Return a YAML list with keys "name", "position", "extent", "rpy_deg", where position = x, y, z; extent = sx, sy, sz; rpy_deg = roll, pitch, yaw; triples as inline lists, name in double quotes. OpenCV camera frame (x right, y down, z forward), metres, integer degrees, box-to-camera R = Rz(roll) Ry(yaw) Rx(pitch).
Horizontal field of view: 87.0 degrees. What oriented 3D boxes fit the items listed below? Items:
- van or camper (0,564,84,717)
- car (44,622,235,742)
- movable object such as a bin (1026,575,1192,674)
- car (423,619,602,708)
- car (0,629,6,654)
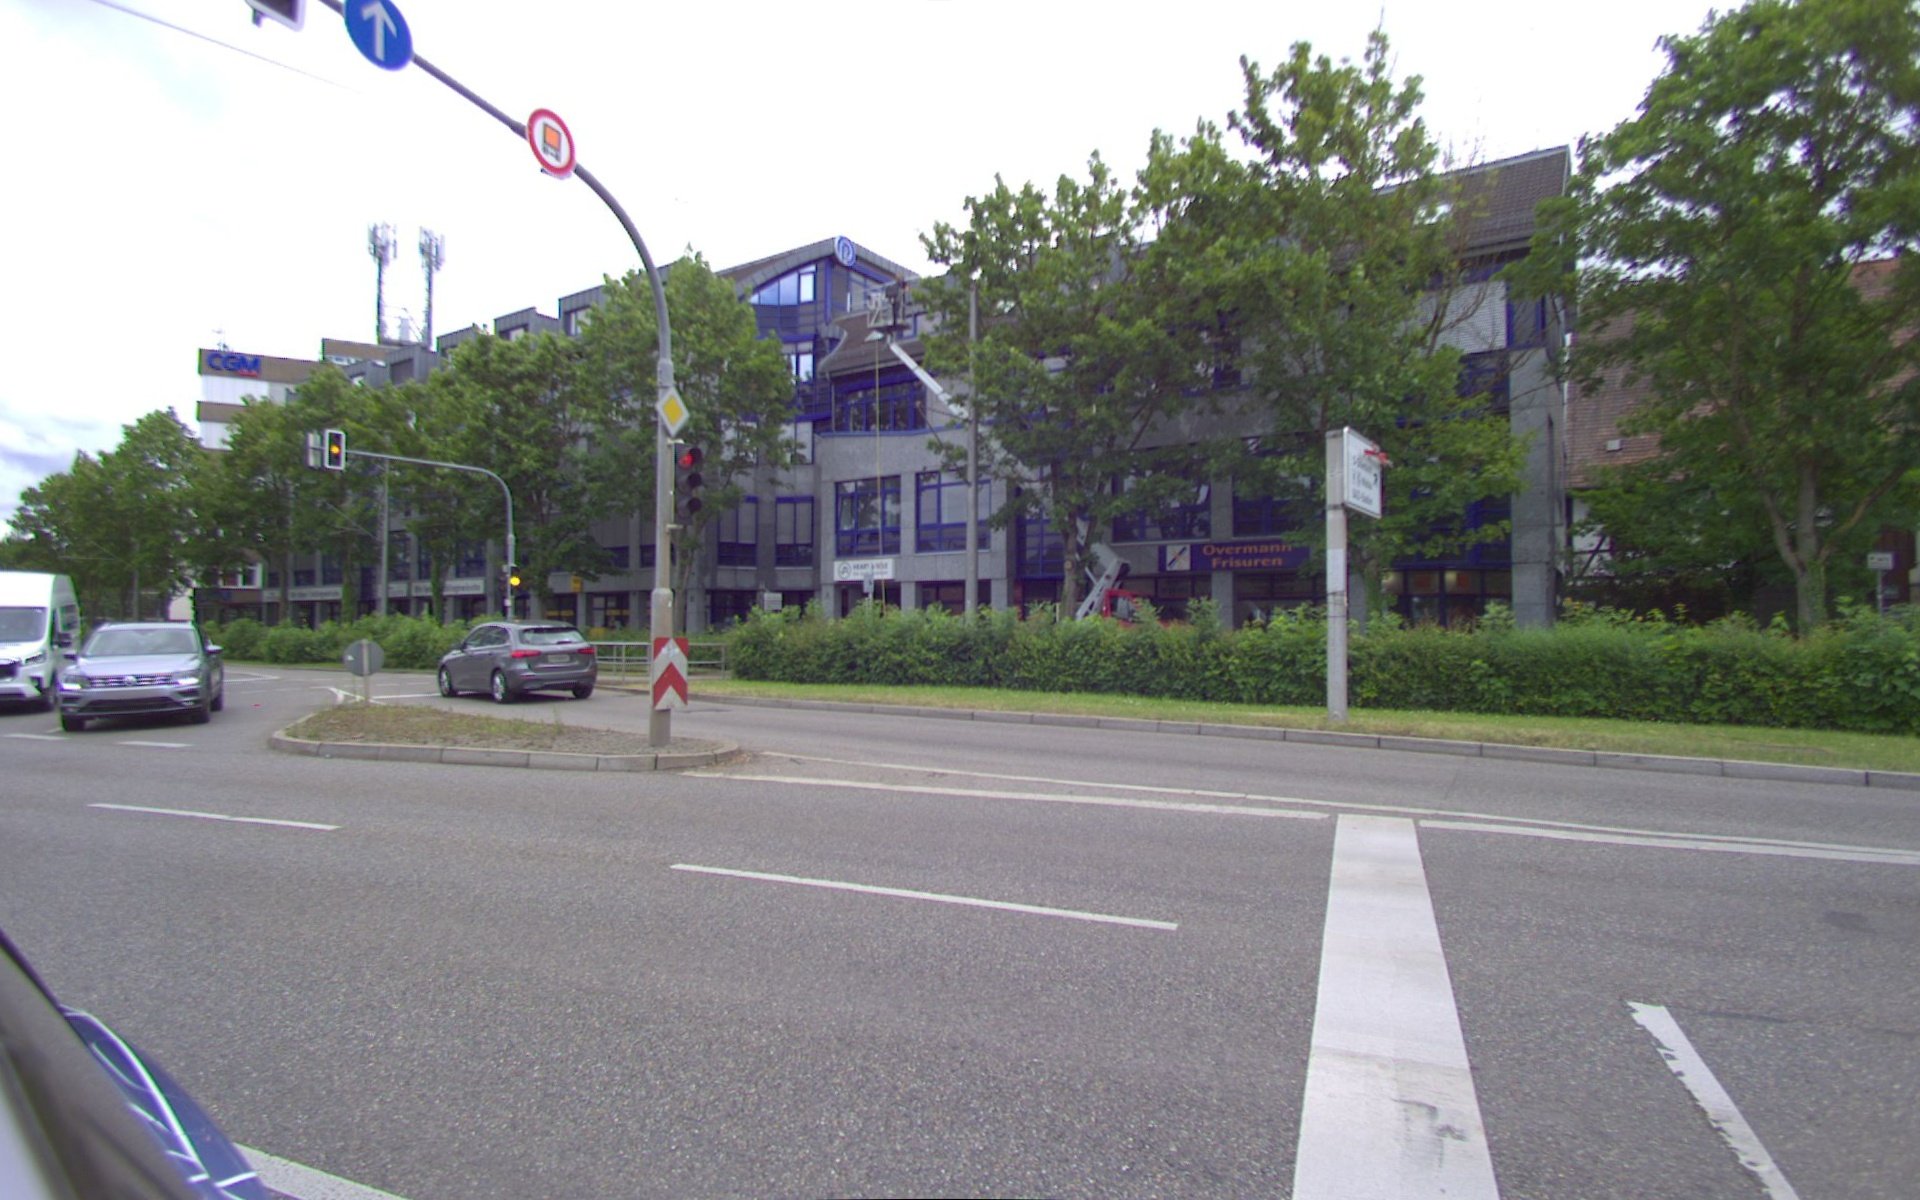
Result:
- name: "van or camper"
  position: [-19.312, 0.780, 20.267]
  extent: [2.077, 2.710, 6.314]
  rpy_deg: [-1, -1, -36]
- name: "car"
  position: [-13.343, 1.213, 16.733]
  extent: [1.804, 1.658, 4.339]
  rpy_deg: [-1, -1, -30]
- name: "movable object such as a bin"
  position: [4.104, 0.686, 28.155]
  extent: [4.117, 2.551, 1.889]
  rpy_deg: [-2, -1, 35]
- name: "car"
  position: [-9.059, 1.215, 20.304]
  extent: [4.397, 1.549, 1.763]
  rpy_deg: [-2, -1, 44]
- name: "car"
  position: [-57.381, 2.396, 58.921]
  extent: [4.696, 1.448, 1.828]
  rpy_deg: [-1, -3, 36]
